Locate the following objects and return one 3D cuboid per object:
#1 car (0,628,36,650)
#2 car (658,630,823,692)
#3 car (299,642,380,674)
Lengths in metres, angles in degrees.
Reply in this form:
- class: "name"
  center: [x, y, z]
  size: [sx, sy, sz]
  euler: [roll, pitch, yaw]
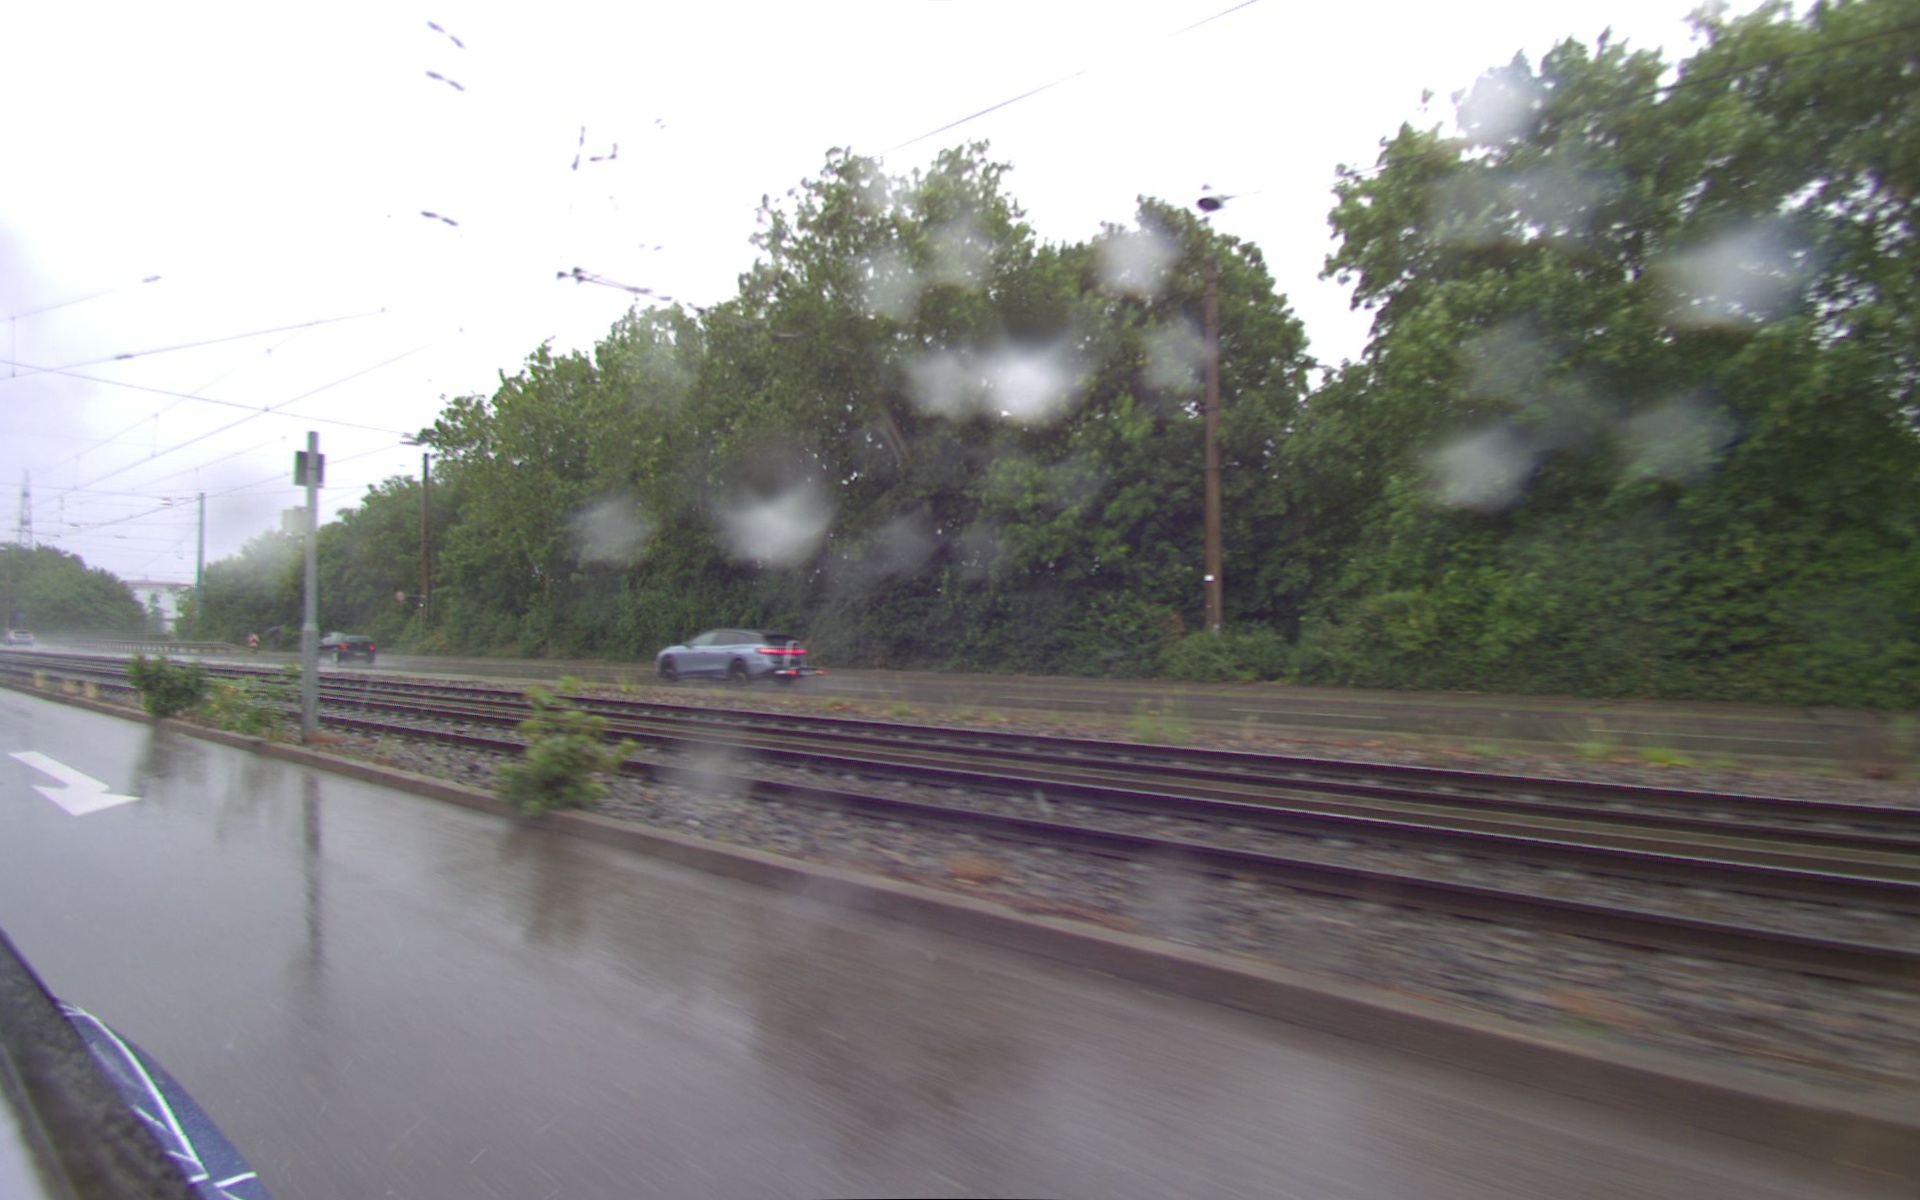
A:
- class: "car"
  center: [-85.898, 3.544, 92.168]
  size: [3.996, 1.796, 1.975]
  euler: [-2, 2, 39]
- class: "car"
  center: [-6.058, 1.600, 27.622]
  size: [4.949, 1.535, 1.674]
  euler: [-2, -2, 38]
- class: "car"
  center: [-28.403, 2.633, 46.285]
  size: [4.374, 1.340, 1.754]
  euler: [-2, -2, 39]
